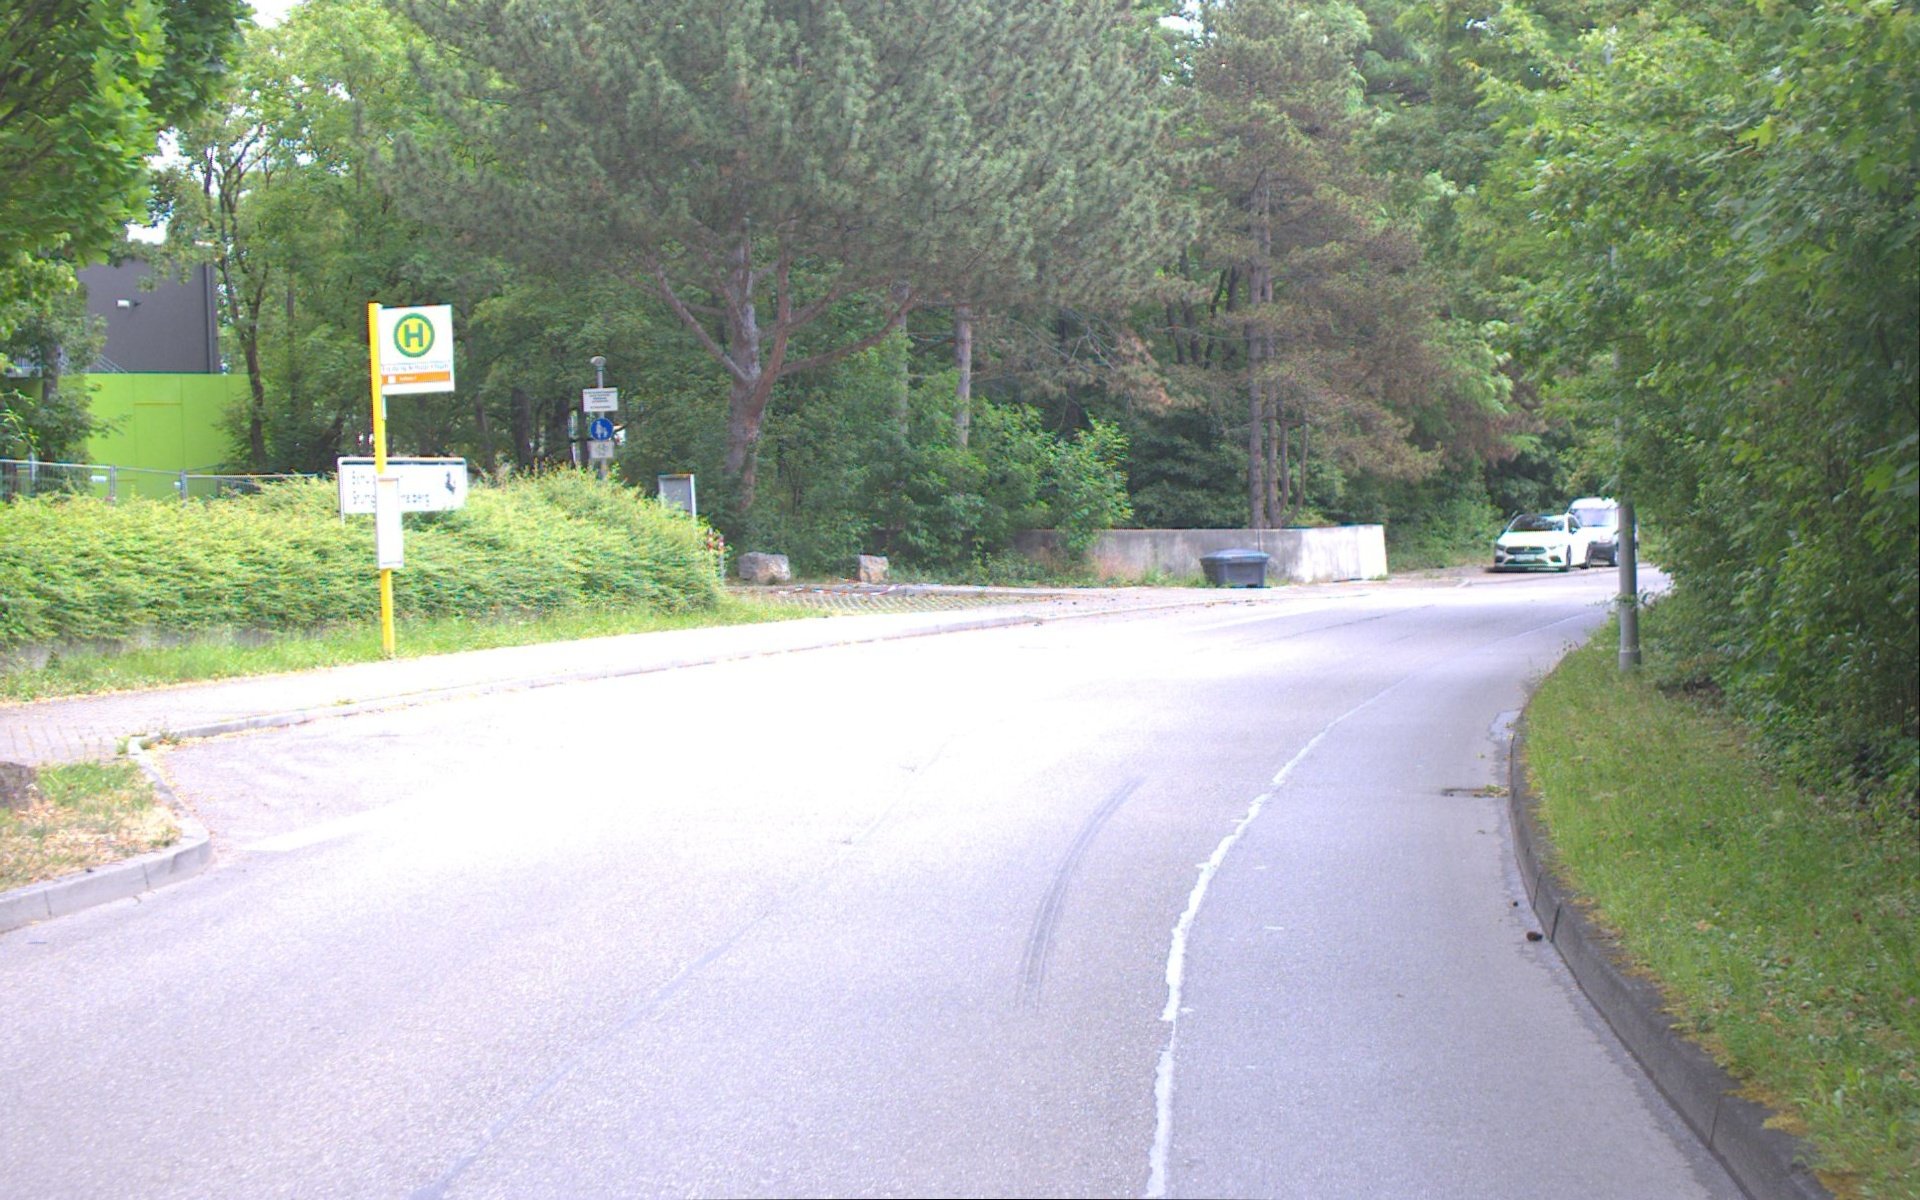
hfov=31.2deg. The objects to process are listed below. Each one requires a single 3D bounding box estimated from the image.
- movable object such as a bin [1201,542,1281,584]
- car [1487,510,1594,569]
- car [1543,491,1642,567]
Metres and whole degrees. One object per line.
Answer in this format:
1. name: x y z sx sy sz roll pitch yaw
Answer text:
1. movable object such as a bin: 5.126 -0.676 62.684 1.143 0.758 1.049 1 1 -16
2. car: 14.346 -1.512 84.743 1.807 1.398 4.367 1 2 20
3. car: 16.757 -1.913 90.982 1.723 1.914 4.100 1 3 23
